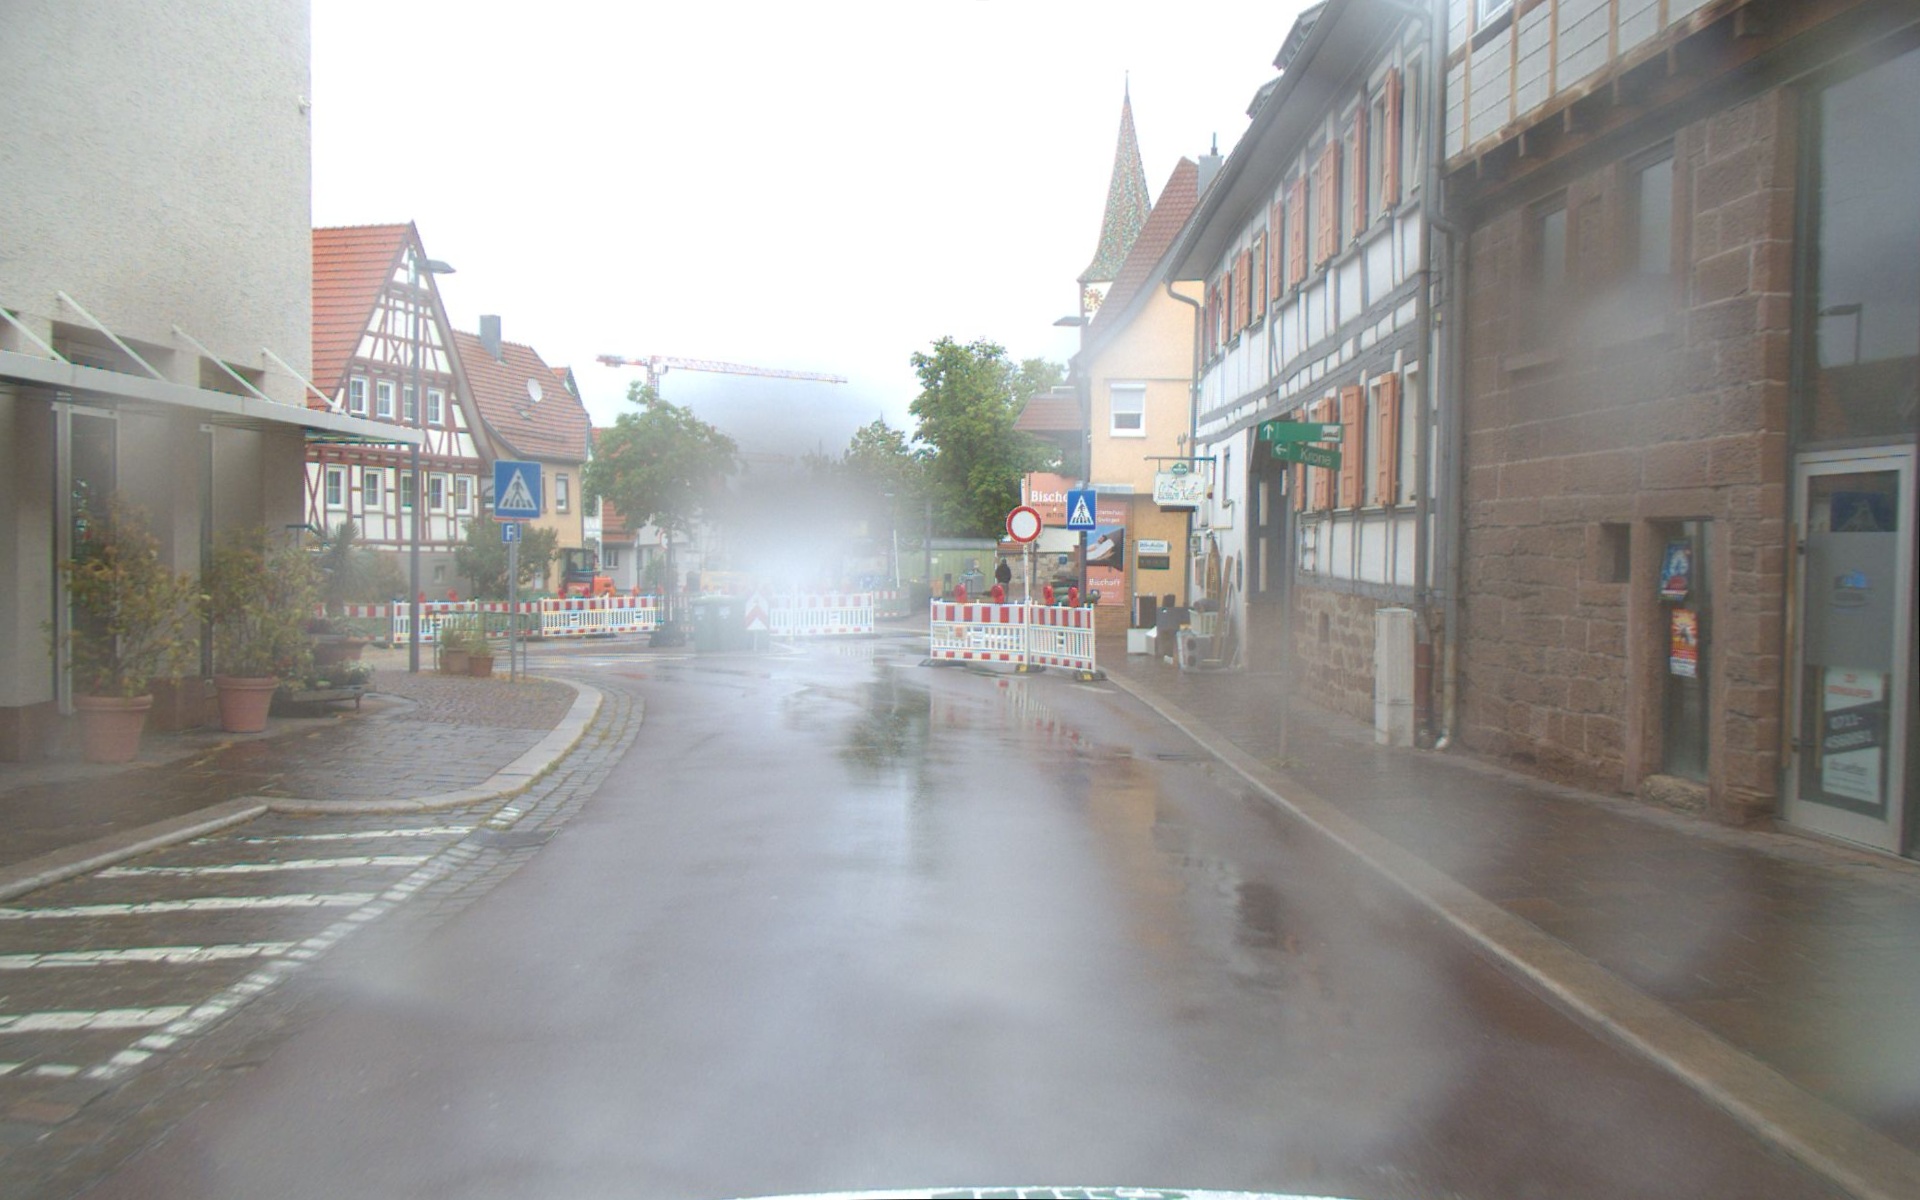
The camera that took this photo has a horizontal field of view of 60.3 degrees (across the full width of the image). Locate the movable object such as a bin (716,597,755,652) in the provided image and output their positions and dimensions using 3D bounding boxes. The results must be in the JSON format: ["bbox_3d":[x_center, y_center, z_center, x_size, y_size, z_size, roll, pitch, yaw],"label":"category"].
[{"bbox_3d":[-4.402,0.478,32.413,0.533,1.051,0.533,-2,-1,32],"label":"movable object such as a bin"}]

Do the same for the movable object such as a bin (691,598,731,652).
[{"bbox_3d":[-4.926,0.499,32.741,0.530,1.055,0.570,-1,-1,32],"label":"movable object such as a bin"}]

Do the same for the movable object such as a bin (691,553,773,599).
[{"bbox_3d":[-10.655,-1.110,77.600,3.332,2.049,3.479,1,0,0],"label":"movable object such as a bin"}]

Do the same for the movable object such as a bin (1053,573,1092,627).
[{"bbox_3d":[3.334,-0.012,48.940,1.042,1.539,1.243,-2,1,7],"label":"movable object such as a bin"}]

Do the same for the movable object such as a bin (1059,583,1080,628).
[{"bbox_3d":[2.908,0.135,44.058,0.505,1.148,0.580,-3,2,3],"label":"movable object such as a bin"}]

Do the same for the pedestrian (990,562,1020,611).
[{"bbox_3d":[1.699,-0.503,62.363,0.971,1.789,0.850,1,0,-7],"label":"pedestrian"}]

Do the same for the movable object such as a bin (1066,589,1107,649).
[{"bbox_3d":[2.365,0.358,31.011,0.666,1.084,0.539,-1,2,-8],"label":"movable object such as a bin"}]

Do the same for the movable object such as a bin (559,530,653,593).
[{"bbox_3d":[-12.150,-1.286,57.017,1.864,2.049,4.003,-1,0,8],"label":"movable object such as a bin"}]

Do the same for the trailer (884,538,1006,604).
[{"bbox_3d":[-0.729,-1.387,79.464,5.669,2.999,1.998,1,0,-6],"label":"trailer"}]

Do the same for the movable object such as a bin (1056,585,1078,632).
[{"bbox_3d":[2.733,0.202,42.153,0.507,1.151,0.580,-2,2,3],"label":"movable object such as a bin"}]
